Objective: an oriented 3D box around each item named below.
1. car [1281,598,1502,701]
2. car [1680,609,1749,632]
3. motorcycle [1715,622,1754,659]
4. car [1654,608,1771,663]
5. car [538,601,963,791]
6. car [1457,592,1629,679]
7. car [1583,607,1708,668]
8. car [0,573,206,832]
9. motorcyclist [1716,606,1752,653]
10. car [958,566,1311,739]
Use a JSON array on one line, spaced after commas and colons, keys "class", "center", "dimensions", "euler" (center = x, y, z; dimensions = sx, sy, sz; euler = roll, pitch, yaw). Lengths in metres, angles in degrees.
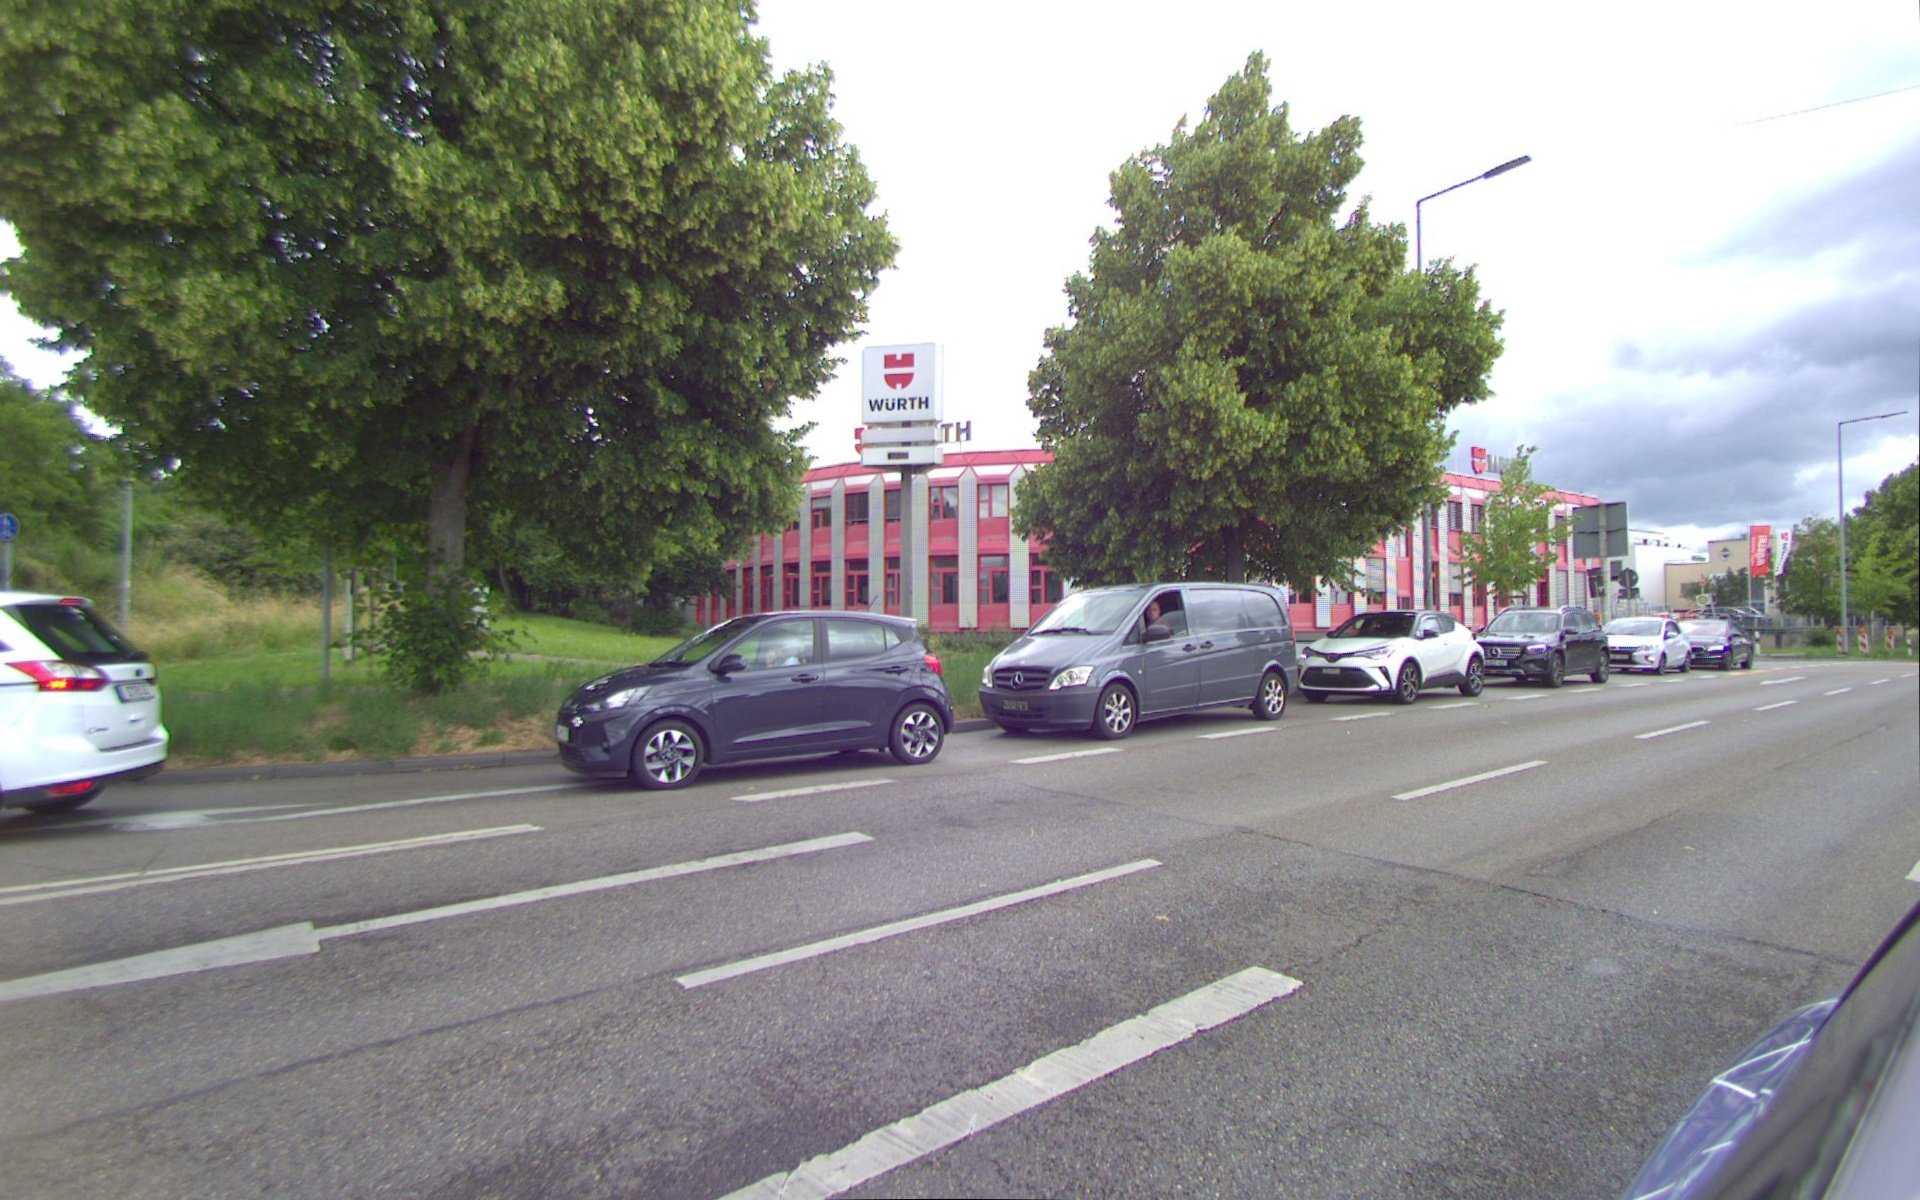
[{"class": "car", "center": [7.467, 0.791, 17.340], "dimensions": [4.230, 1.555, 1.783], "euler": [0, -3, -41]}, {"class": "car", "center": [61.811, 1.677, 82.960], "dimensions": [1.752, 1.776, 4.247], "euler": [0, 0, -39]}, {"class": "motorcycle", "center": [25.165, 1.320, 32.870], "dimensions": [1.911, 1.162, 0.748], "euler": [2, -3, -45]}, {"class": "car", "center": [22.217, 1.052, 29.816], "dimensions": [4.446, 1.464, 1.784], "euler": [3, -1, -40]}, {"class": "car", "center": [-1.913, 0.781, 9.494], "dimensions": [3.545, 1.449, 1.625], "euler": [0, -3, -33]}, {"class": "car", "center": [12.480, 0.753, 21.569], "dimensions": [4.346, 1.671, 1.784], "euler": [3, -1, -40]}, {"class": "car", "center": [18.189, 0.990, 26.817], "dimensions": [3.766, 1.461, 1.784], "euler": [3, -1, -40]}, {"class": "car", "center": [-7.872, 0.699, 6.622], "dimensions": [4.365, 1.616, 1.786], "euler": [-1, -3, -20]}, {"class": "motorcyclist", "center": [25.133, 0.952, 32.861], "dimensions": [0.918, 1.510, 0.748], "euler": [2, -3, -45]}, {"class": "car", "center": [2.386, 0.615, 13.150], "dimensions": [4.636, 1.858, 1.919], "euler": [0, -3, -39]}]
